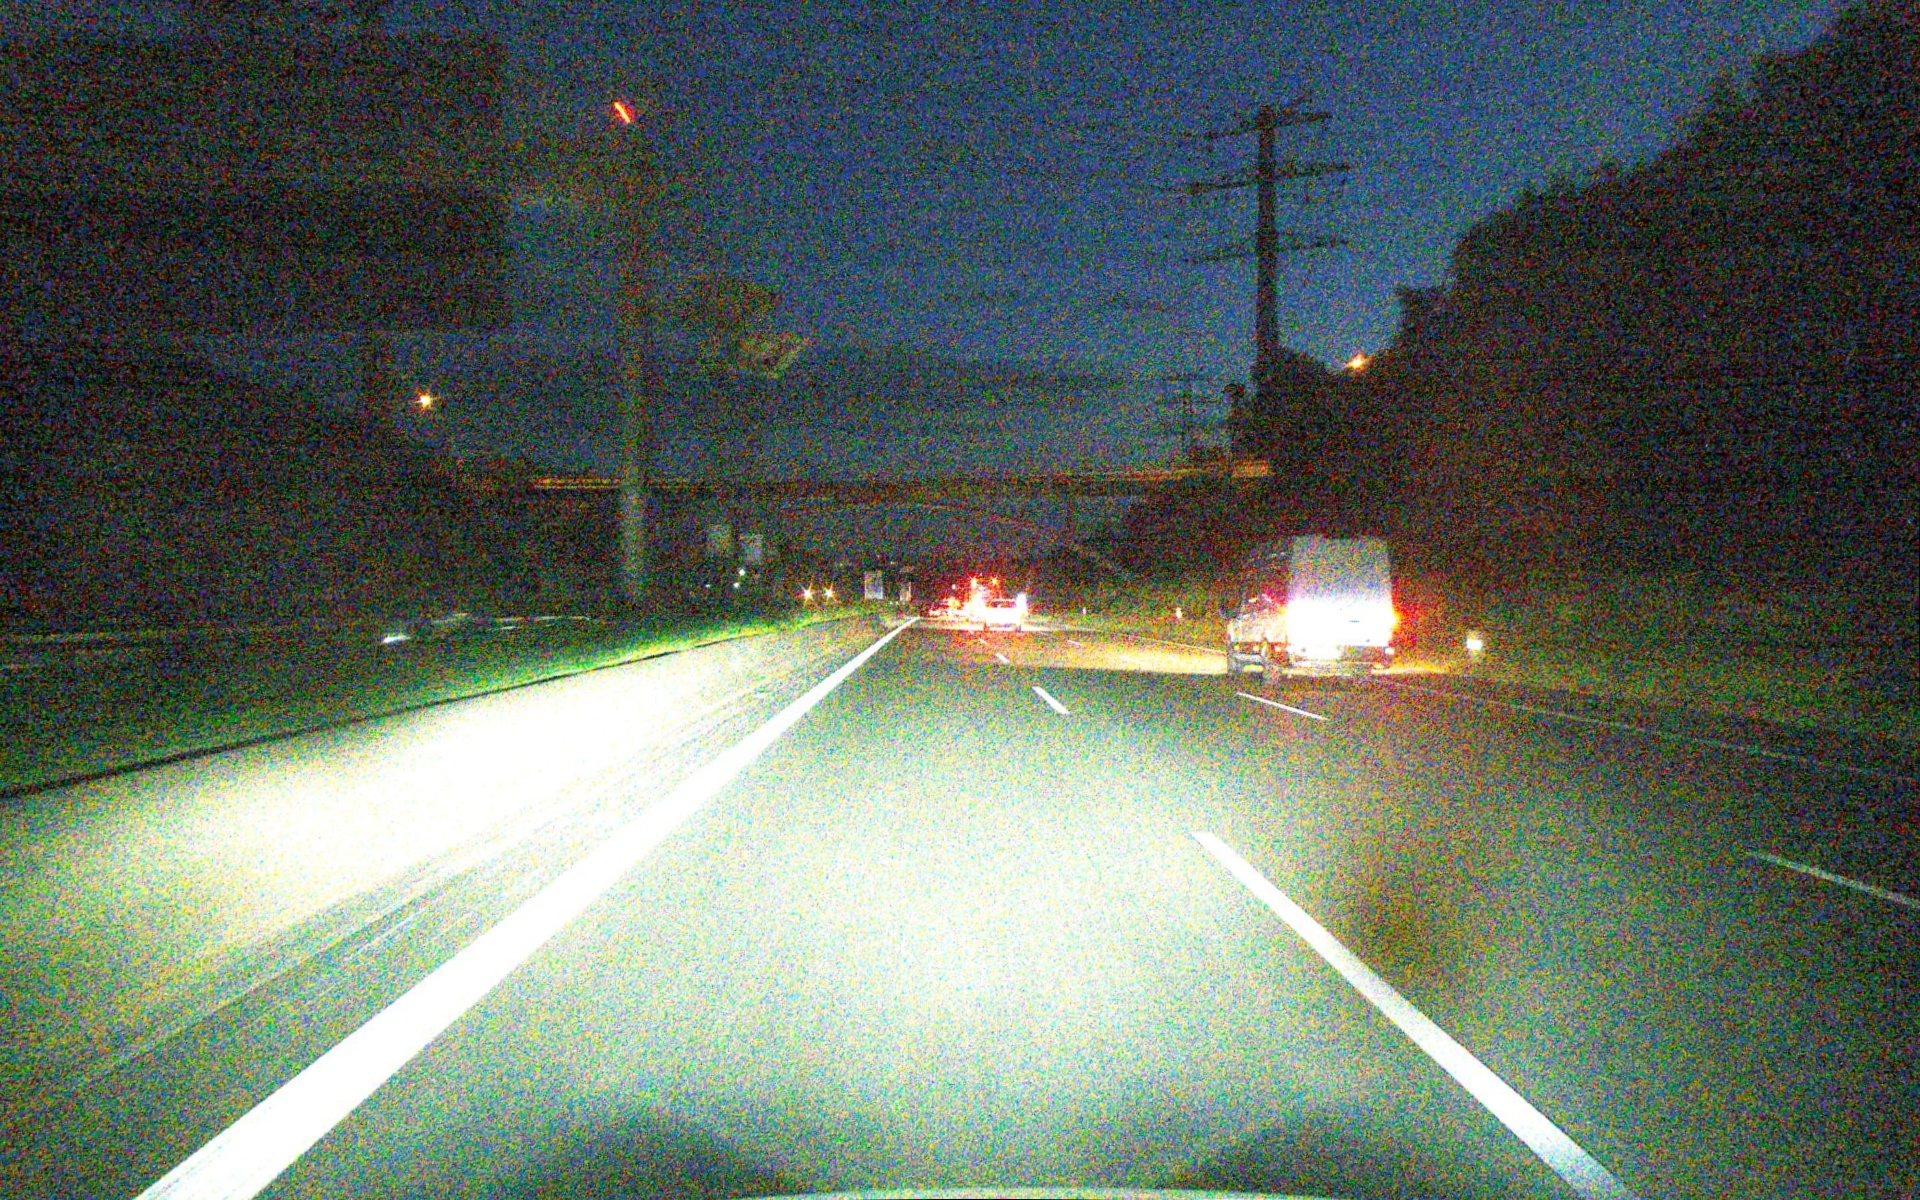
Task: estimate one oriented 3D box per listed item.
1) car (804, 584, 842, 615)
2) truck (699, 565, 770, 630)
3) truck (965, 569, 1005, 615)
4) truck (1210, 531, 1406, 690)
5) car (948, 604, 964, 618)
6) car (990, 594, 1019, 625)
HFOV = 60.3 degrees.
[{"bbox_3d":[-9.952,-0.045,120.470,2.163,2.048,6.944,1,1,0],"label":"car"},{"bbox_3d":[-17.182,-0.375,127.519,3.180,4.566,17.438,1,1,-1],"label":"truck"},{"bbox_3d":[1.966,-0.693,132.857,2.982,3.382,10.142,1,1,0],"label":"truck"},{"bbox_3d":[6.650,0.092,32.625,2.035,2.737,7.306,1,1,-2],"label":"truck"},{"bbox_3d":[-0.463,1.242,194.834,1.783,1.491,4.248,1,1,0],"label":"car"},{"bbox_3d":[2.205,0.475,82.217,1.318,1.411,3.502,1,1,0],"label":"car"}]
